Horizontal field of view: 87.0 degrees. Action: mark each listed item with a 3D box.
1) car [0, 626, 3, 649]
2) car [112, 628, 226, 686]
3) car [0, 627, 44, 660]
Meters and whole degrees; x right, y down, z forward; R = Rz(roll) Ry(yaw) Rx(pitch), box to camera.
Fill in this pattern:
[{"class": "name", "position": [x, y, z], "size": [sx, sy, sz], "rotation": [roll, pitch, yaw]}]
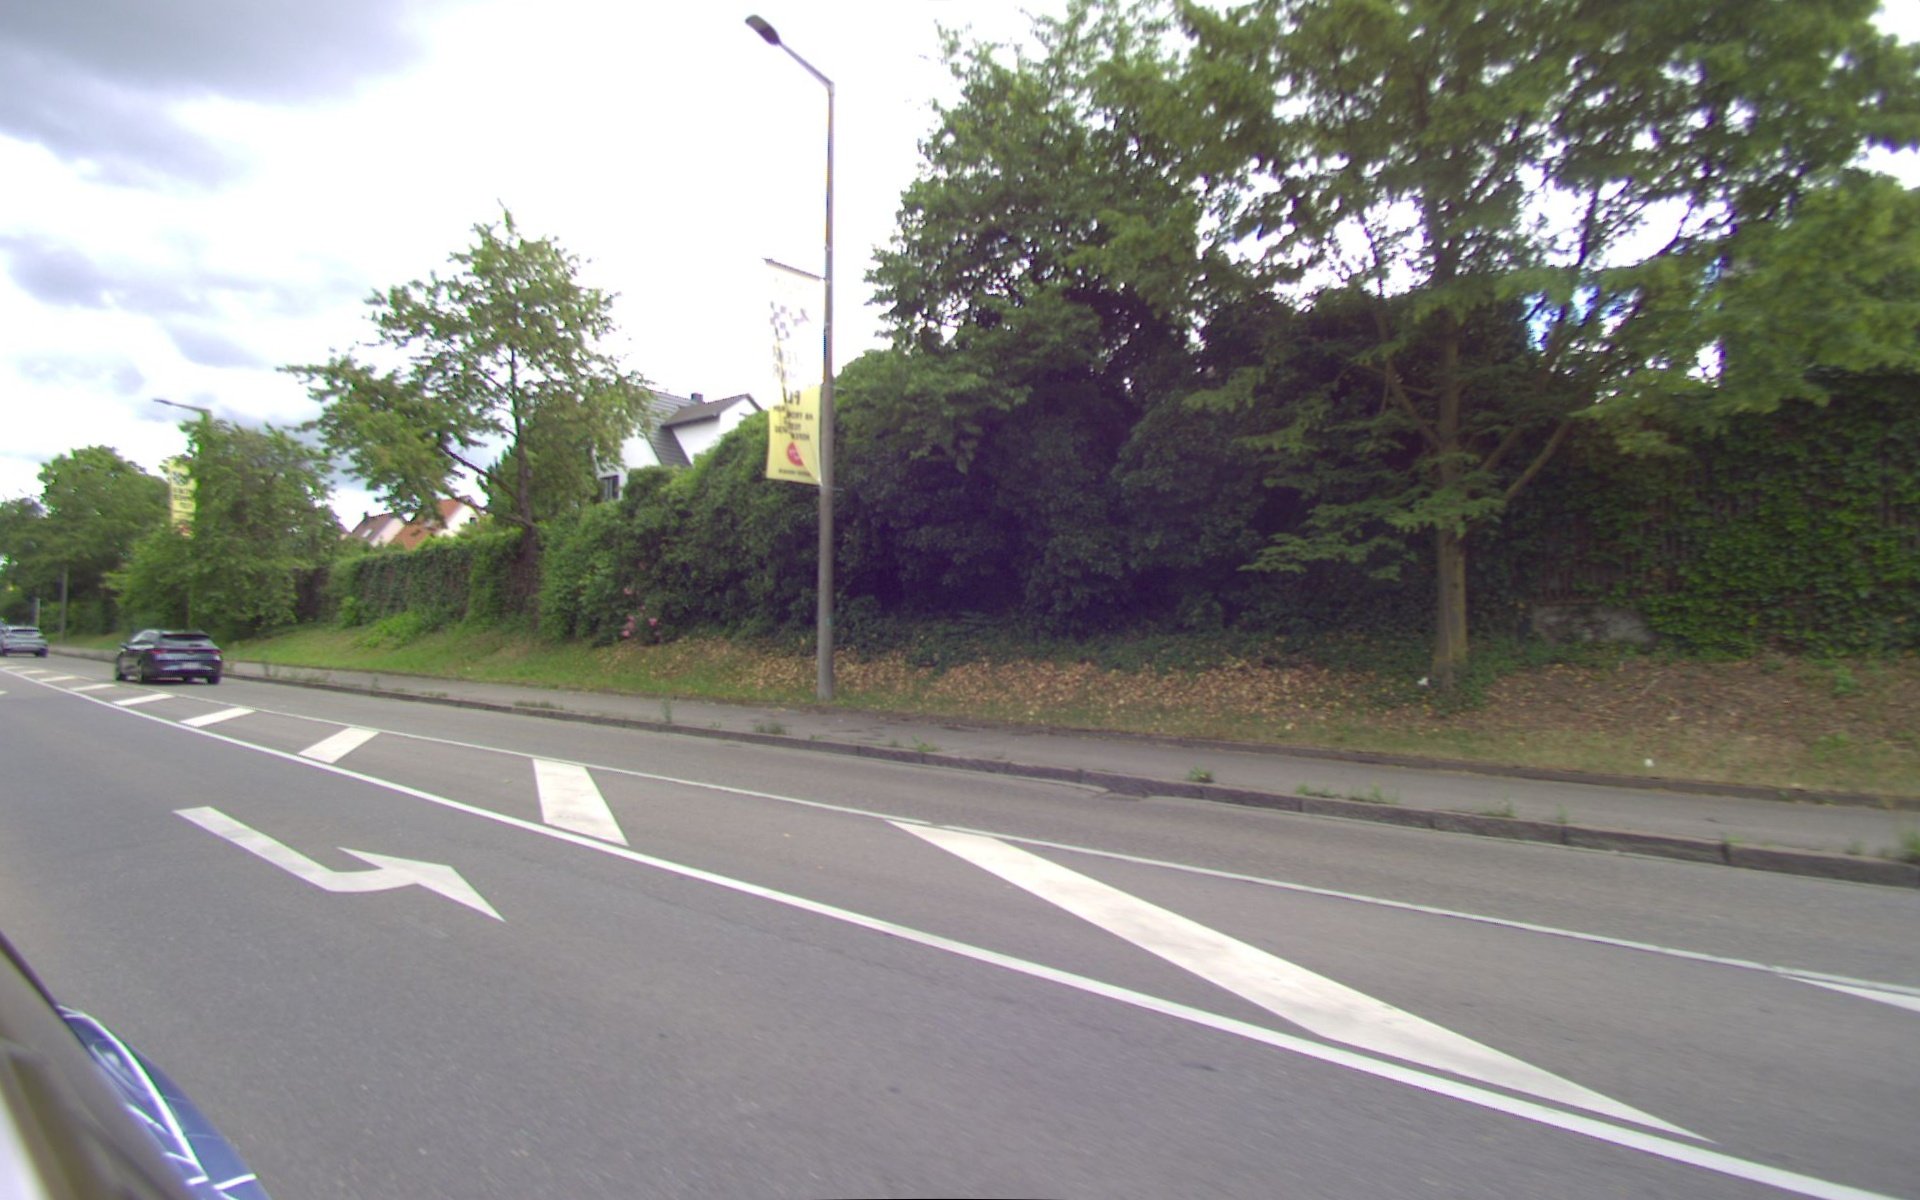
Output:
[{"class": "car", "position": [-62.490, 2.410, 64.607], "size": [3.927, 1.437, 1.632], "rotation": [-1, -1, 41]}, {"class": "car", "position": [-21.419, 1.510, 27.351], "size": [4.006, 1.433, 1.636], "rotation": [-1, -4, 41]}, {"class": "car", "position": [-47.360, 2.161, 50.682], "size": [3.927, 1.540, 1.784], "rotation": [-1, -1, 41]}]
